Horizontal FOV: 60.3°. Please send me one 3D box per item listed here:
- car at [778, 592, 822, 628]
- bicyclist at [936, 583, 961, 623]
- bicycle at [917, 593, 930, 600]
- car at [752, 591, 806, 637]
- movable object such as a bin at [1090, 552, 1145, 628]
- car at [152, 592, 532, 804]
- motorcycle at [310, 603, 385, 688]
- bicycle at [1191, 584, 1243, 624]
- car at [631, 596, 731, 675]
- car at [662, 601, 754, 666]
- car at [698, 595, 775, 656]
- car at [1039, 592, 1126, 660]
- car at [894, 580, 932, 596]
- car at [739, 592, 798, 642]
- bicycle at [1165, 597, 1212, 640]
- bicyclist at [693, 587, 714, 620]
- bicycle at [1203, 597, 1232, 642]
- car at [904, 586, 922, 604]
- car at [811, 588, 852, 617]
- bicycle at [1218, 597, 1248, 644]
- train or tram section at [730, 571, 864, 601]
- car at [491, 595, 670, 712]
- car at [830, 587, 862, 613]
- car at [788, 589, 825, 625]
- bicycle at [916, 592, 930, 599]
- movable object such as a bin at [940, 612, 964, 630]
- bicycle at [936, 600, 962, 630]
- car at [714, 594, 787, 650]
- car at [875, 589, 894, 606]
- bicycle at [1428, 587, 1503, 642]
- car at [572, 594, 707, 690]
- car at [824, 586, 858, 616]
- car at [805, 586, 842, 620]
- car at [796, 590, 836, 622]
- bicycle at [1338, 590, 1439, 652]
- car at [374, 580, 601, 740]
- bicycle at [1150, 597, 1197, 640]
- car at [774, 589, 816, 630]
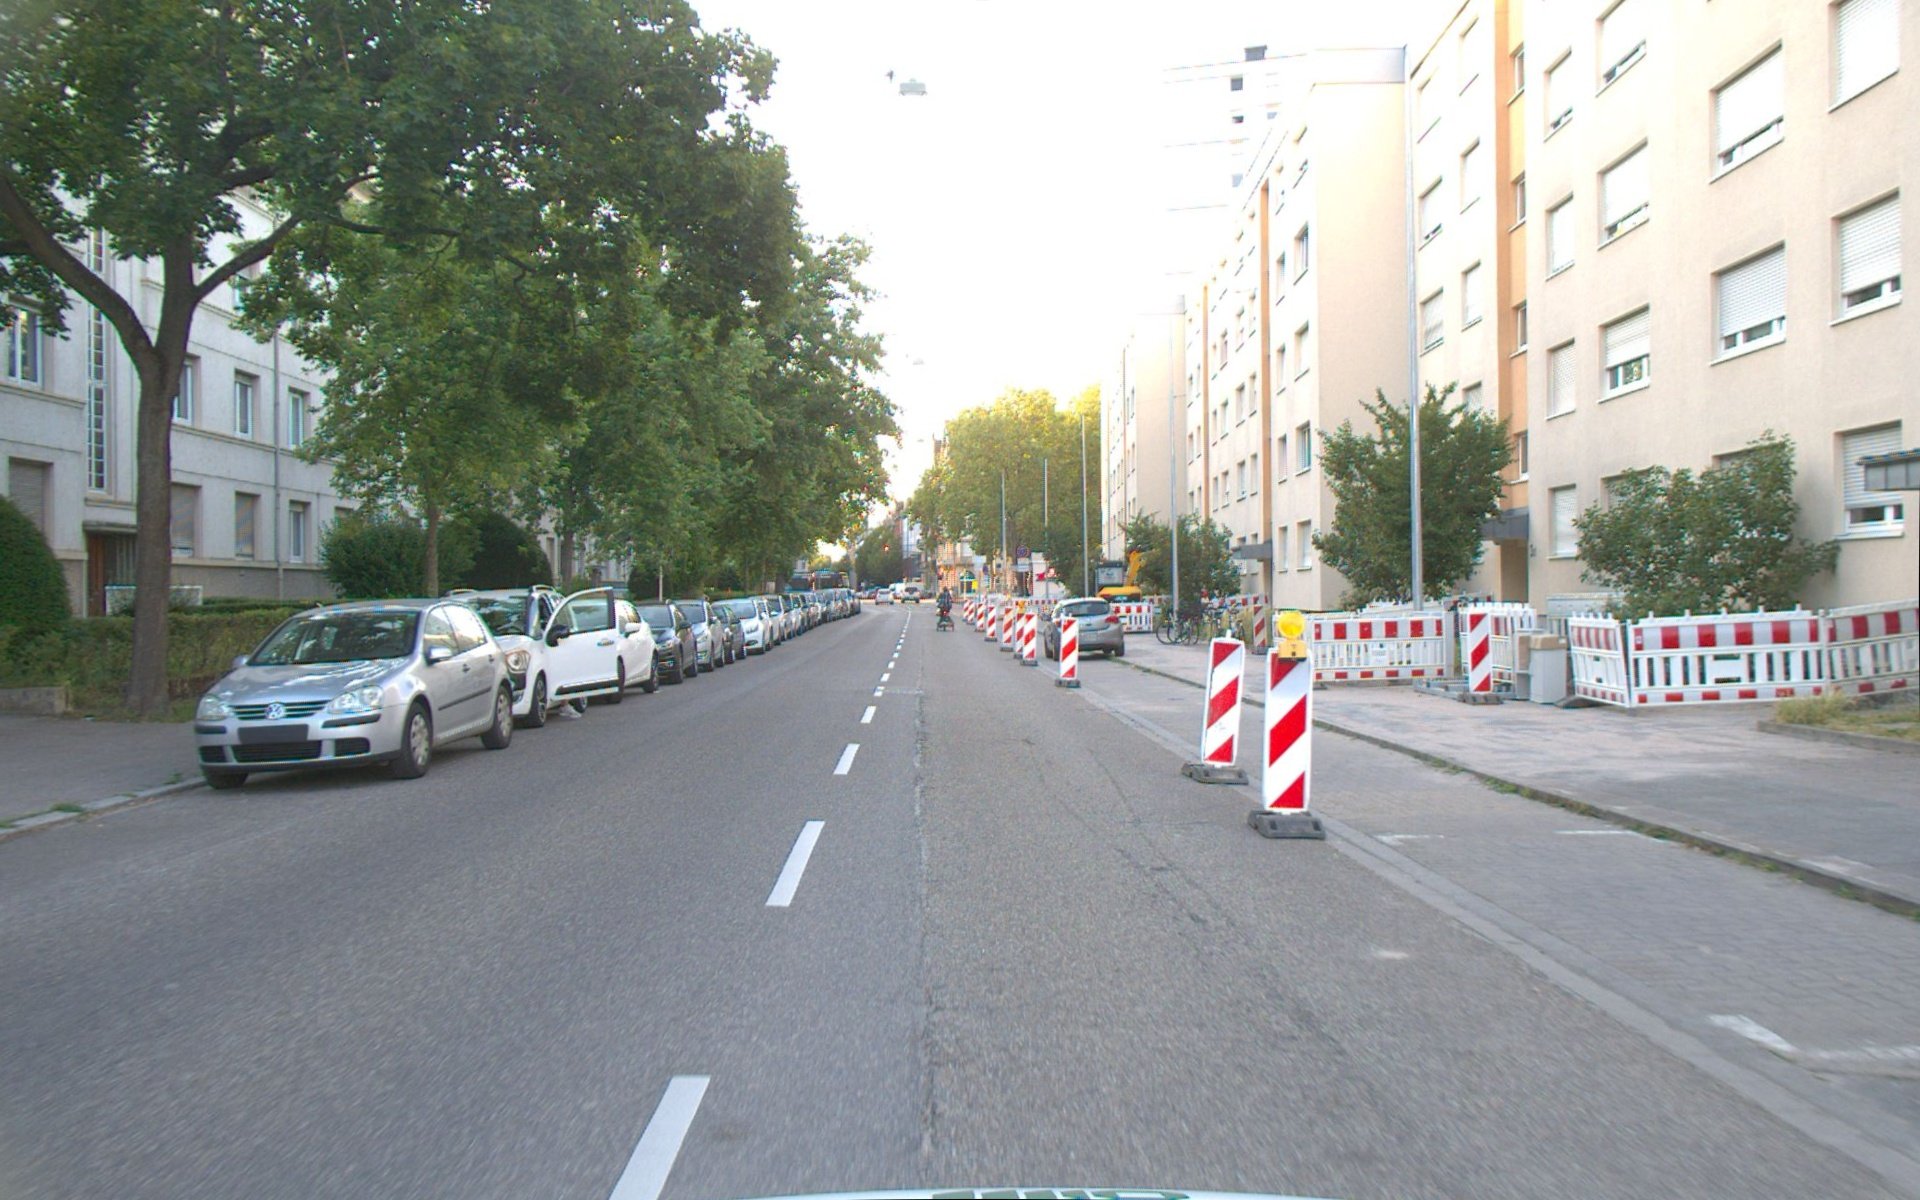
[{"bbox_3d":[-7.095,0.419,73.451,1.558,1.428,4.180,-4,0,-1],"label":"car"},{"bbox_3d":[-0.500,0.130,70.820,0.921,1.609,1.145,-3,0,-5],"label":"bicyclist"},{"bbox_3d":[-5.162,-0.538,233.181,1.877,0.985,0.545,0,0,-3],"label":"bicycle"},{"bbox_3d":[-6.588,0.490,60.458,1.557,1.555,2.921,-4,0,0],"label":"car"},{"bbox_3d":[5.815,-0.379,61.299,1.893,2.740,2.893,-1,0,3],"label":"movable object such as a bin"},{"bbox_3d":[-5.245,0.734,14.690,1.717,1.497,4.223,-4,0,0],"label":"car"},{"bbox_3d":[-10.078,0.726,27.270,0.574,1.348,1.828,-1,0,-1],"label":"motorcycle"},{"bbox_3d":[8.213,0.120,52.805,1.562,1.243,0.484,0,0,-8],"label":"bicycle"},{"bbox_3d":[-5.899,0.711,35.313,1.641,1.485,3.702,-4,0,-4],"label":"car"},{"bbox_3d":[-6.048,0.770,40.104,1.641,1.355,4.578,-4,0,-2],"label":"car"},{"bbox_3d":[-6.052,0.658,45.144,1.659,1.485,4.142,-4,0,-3],"label":"car"},{"bbox_3d":[3.058,0.610,42.167,1.740,1.516,4.573,-4,0,0],"label":"car"},{"bbox_3d":[-6.756,-1.755,239.367,2.038,2.328,5.780,0,0,45],"label":"car"},{"bbox_3d":[-6.483,0.542,56.283,1.558,1.531,3.798,-4,0,-2],"label":"car"},{"bbox_3d":[6.575,0.521,47.645,0.616,1.192,1.808,0,0,-18],"label":"bicycle"},{"bbox_3d":[-11.348,0.152,73.087,0.792,1.428,0.973,0,0,-2],"label":"bicyclist"},{"bbox_3d":[7.087,0.529,45.632,0.544,1.192,1.817,0,0,1],"label":"bicycle"},{"bbox_3d":[-5.077,-0.566,177.296,1.829,1.846,3.998,-1,0,-3],"label":"car"},{"bbox_3d":[-7.181,0.126,92.477,1.696,1.523,4.272,-2,0,3],"label":"car"},{"bbox_3d":[7.188,0.529,43.587,0.544,1.192,1.817,0,0,1],"label":"bicycle"},{"bbox_3d":[-21.261,-1.802,215.451,16.647,3.688,5.048,0,0,16],"label":"train or tram section"},{"bbox_3d":[-5.613,0.741,24.932,1.717,1.505,3.944,-4,0,0],"label":"car"},{"bbox_3d":[-7.755,-0.008,113.019,1.914,1.645,4.603,-2,0,-2],"label":"car"},{"bbox_3d":[-7.283,0.330,78.855,1.559,1.565,4.203,-4,0,-4],"label":"car"},{"bbox_3d":[-5.187,-0.656,233.031,1.877,0.985,0.545,0,0,-3],"label":"bicycle"},{"bbox_3d":[-0.348,0.879,69.253,0.921,0.701,0.992,-3,0,-5],"label":"movable object such as a bin"},{"bbox_3d":[-0.480,0.647,70.916,0.921,1.192,2.356,-3,0,-5],"label":"bicycle"},{"bbox_3d":[-6.252,0.623,49.709,1.658,1.485,4.482,-4,0,-2],"label":"car"},{"bbox_3d":[-7.385,-0.257,161.817,1.829,1.613,3.997,-1,0,-3],"label":"car"},{"bbox_3d":[10.231,0.291,33.420,1.802,0.937,0.549,-5,-1,-43],"label":"bicycle"},{"bbox_3d":[-5.774,0.703,30.310,1.718,1.505,4.676,-4,0,-3],"label":"car"},{"bbox_3d":[-7.564,0.050,105.183,1.914,1.749,4.769,-2,0,-2],"label":"car"},{"bbox_3d":[-7.216,0.133,87.670,1.673,1.628,4.115,-4,0,-2],"label":"car"},{"bbox_3d":[-7.242,0.273,83.252,1.673,1.477,3.842,-4,0,-1],"label":"car"},{"bbox_3d":[8.430,0.404,32.578,1.775,1.040,0.558,-6,-1,-1],"label":"bicycle"},{"bbox_3d":[-5.688,0.658,20.423,1.718,1.660,4.105,-4,0,-3],"label":"car"},{"bbox_3d":[6.081,0.513,47.127,0.548,1.192,1.805,0,0,-21],"label":"bicycle"},{"bbox_3d":[-6.892,0.390,69.309,1.493,1.555,3.162,-4,0,-3],"label":"car"}]
